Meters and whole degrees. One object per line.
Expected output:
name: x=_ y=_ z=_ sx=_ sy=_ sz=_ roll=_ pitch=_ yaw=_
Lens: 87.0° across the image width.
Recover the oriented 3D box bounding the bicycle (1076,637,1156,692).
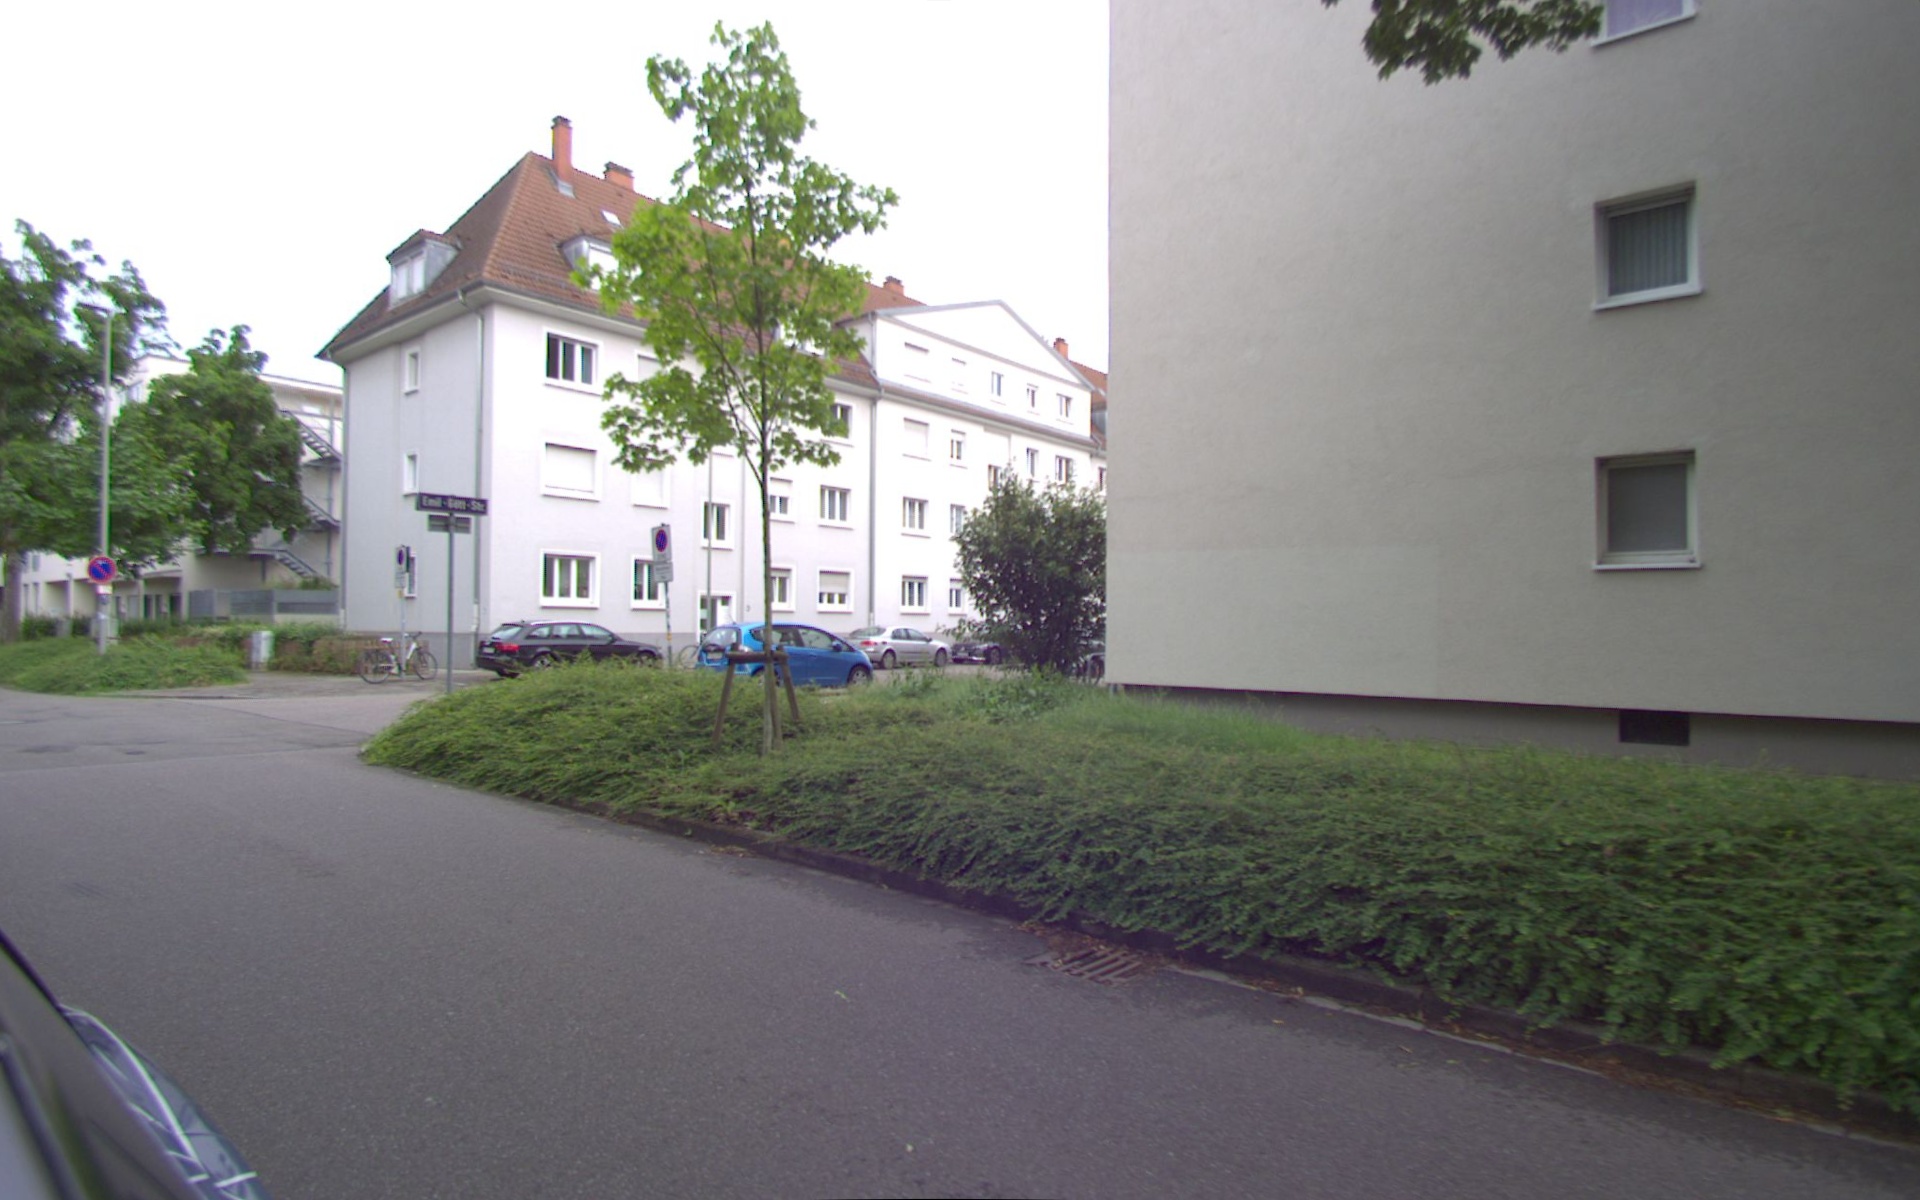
bicycle: x=3.306 y=1.336 z=21.272 sx=0.659 sy=1.079 sz=2.146 roll=-1 pitch=-3 yaw=40

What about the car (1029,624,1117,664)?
car: x=4.820 y=1.835 z=42.796 sx=1.851 sy=1.611 sz=4.107 roll=-1 pitch=-2 yaw=37

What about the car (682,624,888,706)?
car: x=-3.417 y=1.277 z=20.330 sx=1.734 sy=1.474 sz=3.905 roll=-4 pitch=-4 yaw=39

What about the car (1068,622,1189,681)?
car: x=4.890 y=1.473 z=29.056 sx=1.658 sy=1.563 sz=3.863 roll=-5 pitch=-5 yaw=39

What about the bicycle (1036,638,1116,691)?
bicycle: x=2.480 y=1.344 z=21.468 sx=0.659 sy=1.076 sz=2.093 roll=-1 pitch=-3 yaw=40

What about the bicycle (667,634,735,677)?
bicycle: x=-7.724 y=1.643 z=30.243 sx=0.750 sy=1.209 sz=1.870 roll=1 pitch=-1 yaw=39

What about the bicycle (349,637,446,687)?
bicycle: x=-12.889 y=1.398 z=23.236 sx=0.569 sy=1.011 sz=1.864 roll=1 pitch=1 yaw=39

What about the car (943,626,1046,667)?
car: x=1.374 y=1.751 z=38.640 sx=1.785 sy=1.474 sz=4.268 roll=-1 pitch=-2 yaw=37

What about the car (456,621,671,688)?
car: x=-9.697 y=1.296 z=25.098 sx=1.864 sy=1.474 sz=4.665 roll=0 pitch=-2 yaw=37

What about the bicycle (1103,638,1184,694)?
bicycle: x=3.742 y=1.316 z=20.506 sx=0.659 sy=1.079 sz=2.146 roll=-1 pitch=-3 yaw=40

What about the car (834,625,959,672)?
car: x=-2.063 y=1.606 z=34.023 sx=1.735 sy=1.474 sz=4.374 roll=-1 pitch=-2 yaw=37
